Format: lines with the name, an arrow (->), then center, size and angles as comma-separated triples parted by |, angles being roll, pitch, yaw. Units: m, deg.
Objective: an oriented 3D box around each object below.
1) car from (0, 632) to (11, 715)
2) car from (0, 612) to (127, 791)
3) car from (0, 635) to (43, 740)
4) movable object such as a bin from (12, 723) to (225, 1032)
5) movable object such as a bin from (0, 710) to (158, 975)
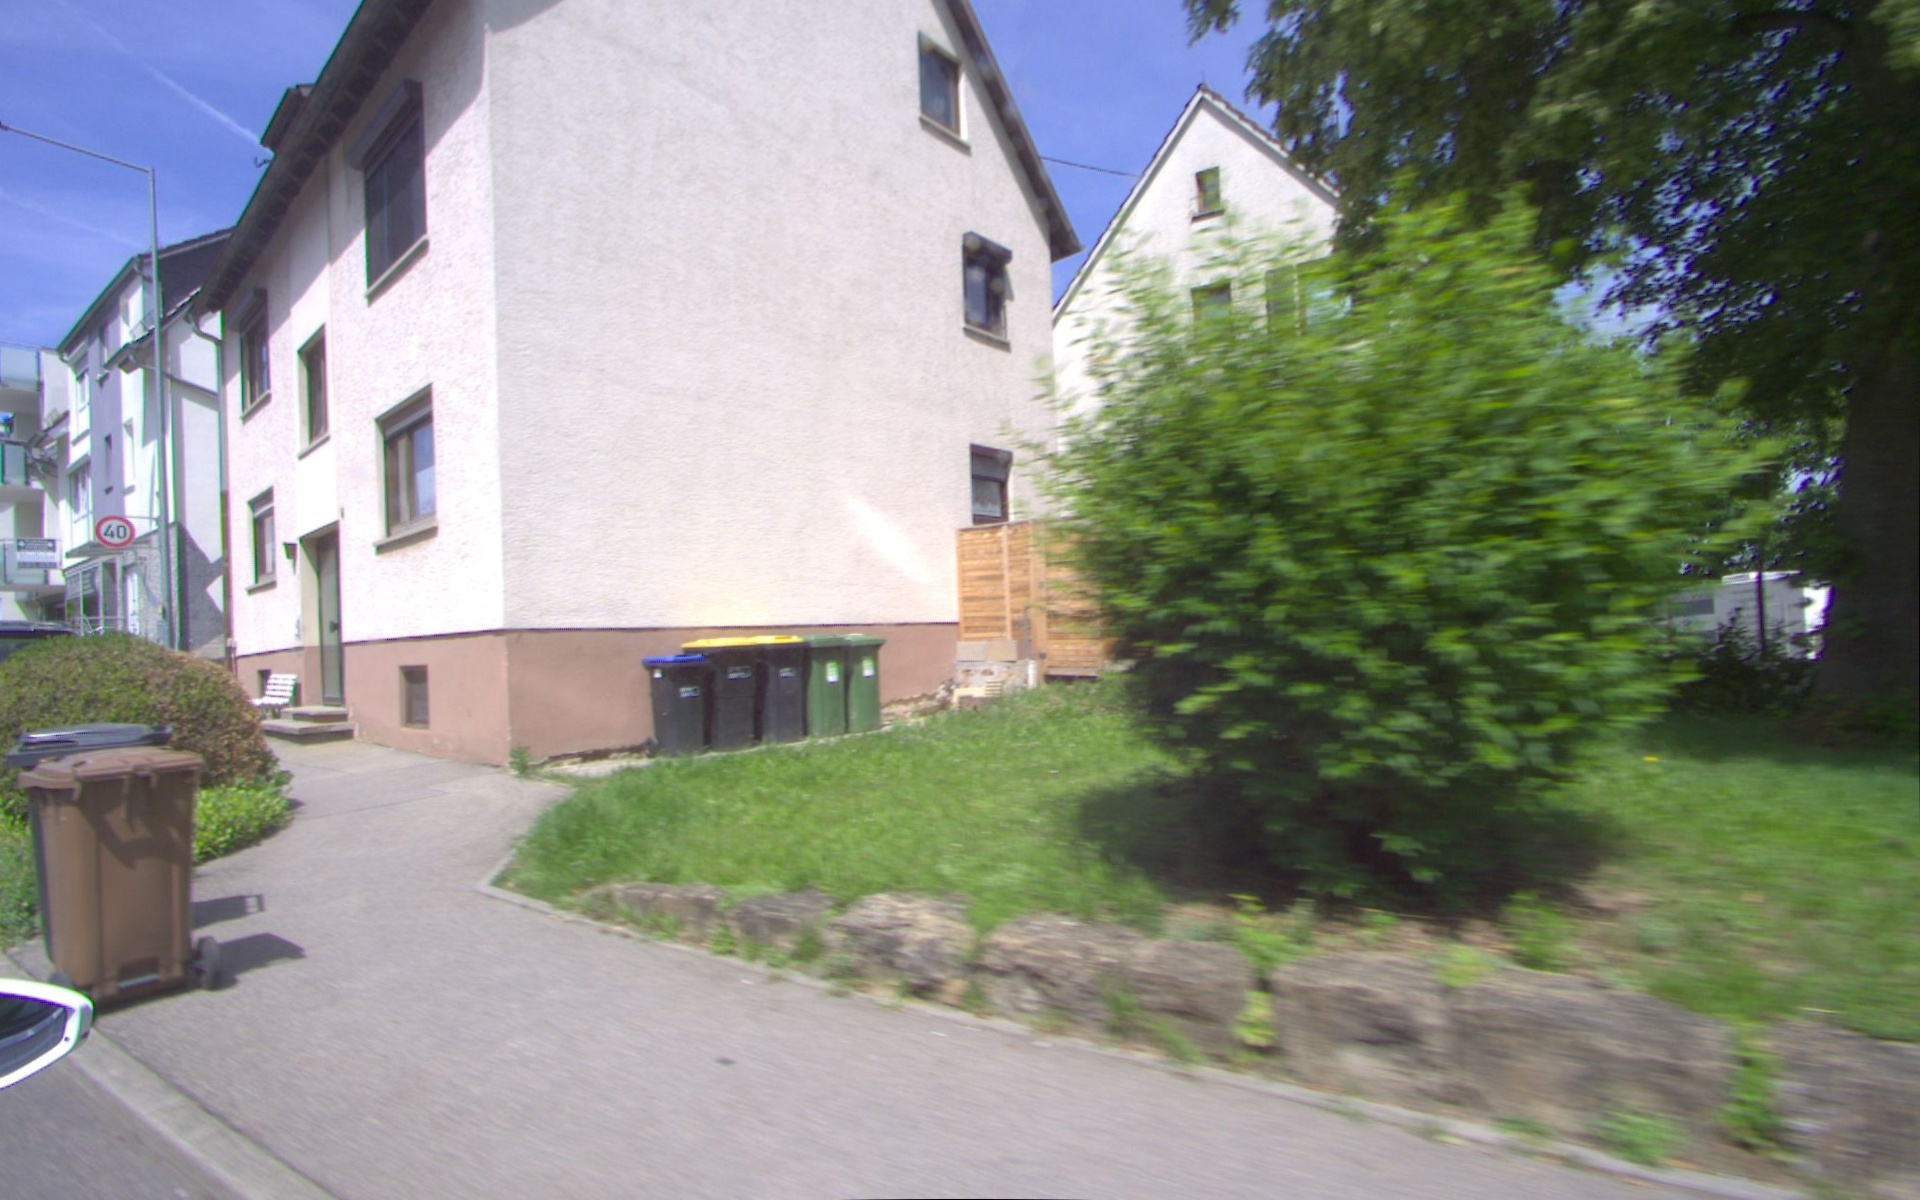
car -> -19.307, 1.353, 18.622 | 4.659, 1.474, 1.781 | -1, 0, 39
car -> -10.788, 1.031, 10.993 | 4.603, 1.691, 1.835 | -2, -2, 41
car -> -15.358, 1.284, 15.121 | 4.309, 1.439, 1.780 | -1, 0, 41
movable object such as a bin -> -3.199, 1.003, 3.817 | 0.496, 1.006, 0.499 | -1, -1, 32
movable object such as a bin -> -3.832, 1.009, 4.339 | 0.519, 1.006, 0.498 | 1, -1, -35
